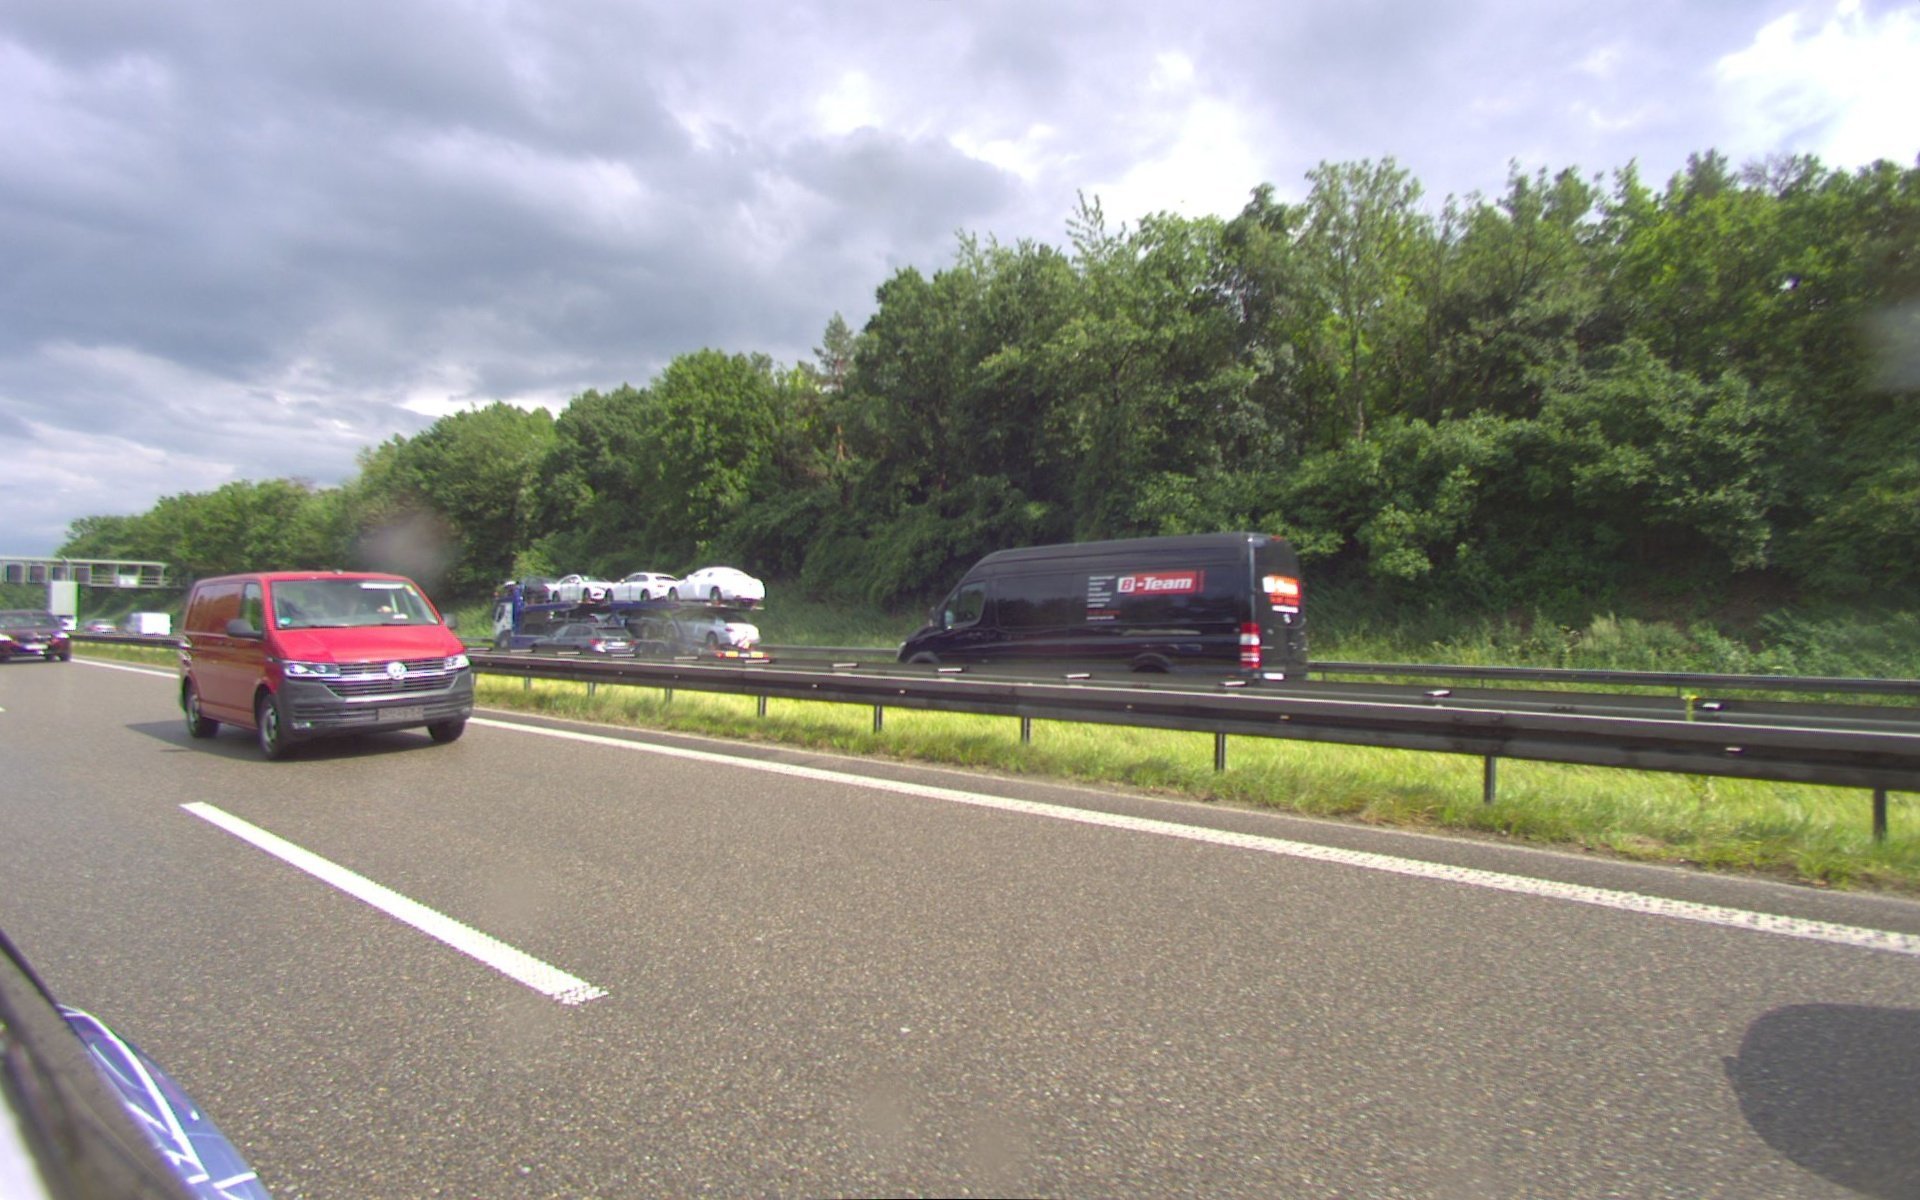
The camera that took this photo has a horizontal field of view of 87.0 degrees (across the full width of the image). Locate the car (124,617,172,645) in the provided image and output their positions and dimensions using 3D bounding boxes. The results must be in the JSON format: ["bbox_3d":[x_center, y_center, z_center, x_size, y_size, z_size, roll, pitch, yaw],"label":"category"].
[{"bbox_3d":[-59.710,2.255,74.399,5.037,1.961,1.850,-1,0,40],"label":"car"}]

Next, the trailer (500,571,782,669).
[{"bbox_3d":[-15.299,0.889,46.561,17.932,3.860,2.961,-1,0,39],"label":"trailer"}]

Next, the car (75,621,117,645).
[{"bbox_3d":[-58.134,2.201,68.105,3.648,1.475,1.586,-1,0,40],"label":"car"}]

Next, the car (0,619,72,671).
[{"bbox_3d":[-30.285,1.396,32.522,4.836,1.508,1.983,-1,0,41],"label":"car"}]

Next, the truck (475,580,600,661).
[{"bbox_3d":[-21.647,0.998,51.695,6.856,3.860,2.961,-1,0,39],"label":"truck"}]

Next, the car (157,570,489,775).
[{"bbox_3d":[-7.443,0.685,11.596,4.836,1.880,1.902,-1,0,41],"label":"car"}]

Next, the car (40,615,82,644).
[{"bbox_3d":[-93.001,3.012,104.674,6.926,2.892,2.240,-1,0,40],"label":"car"}]

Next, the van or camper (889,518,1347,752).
[{"bbox_3d":[2.128,0.467,15.661,6.836,2.892,2.239,-1,0,41],"label":"van or camper"}]

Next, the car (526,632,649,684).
[{"bbox_3d":[-12.384,1.862,33.511,4.525,1.510,1.799,-1,0,40],"label":"car"}]
